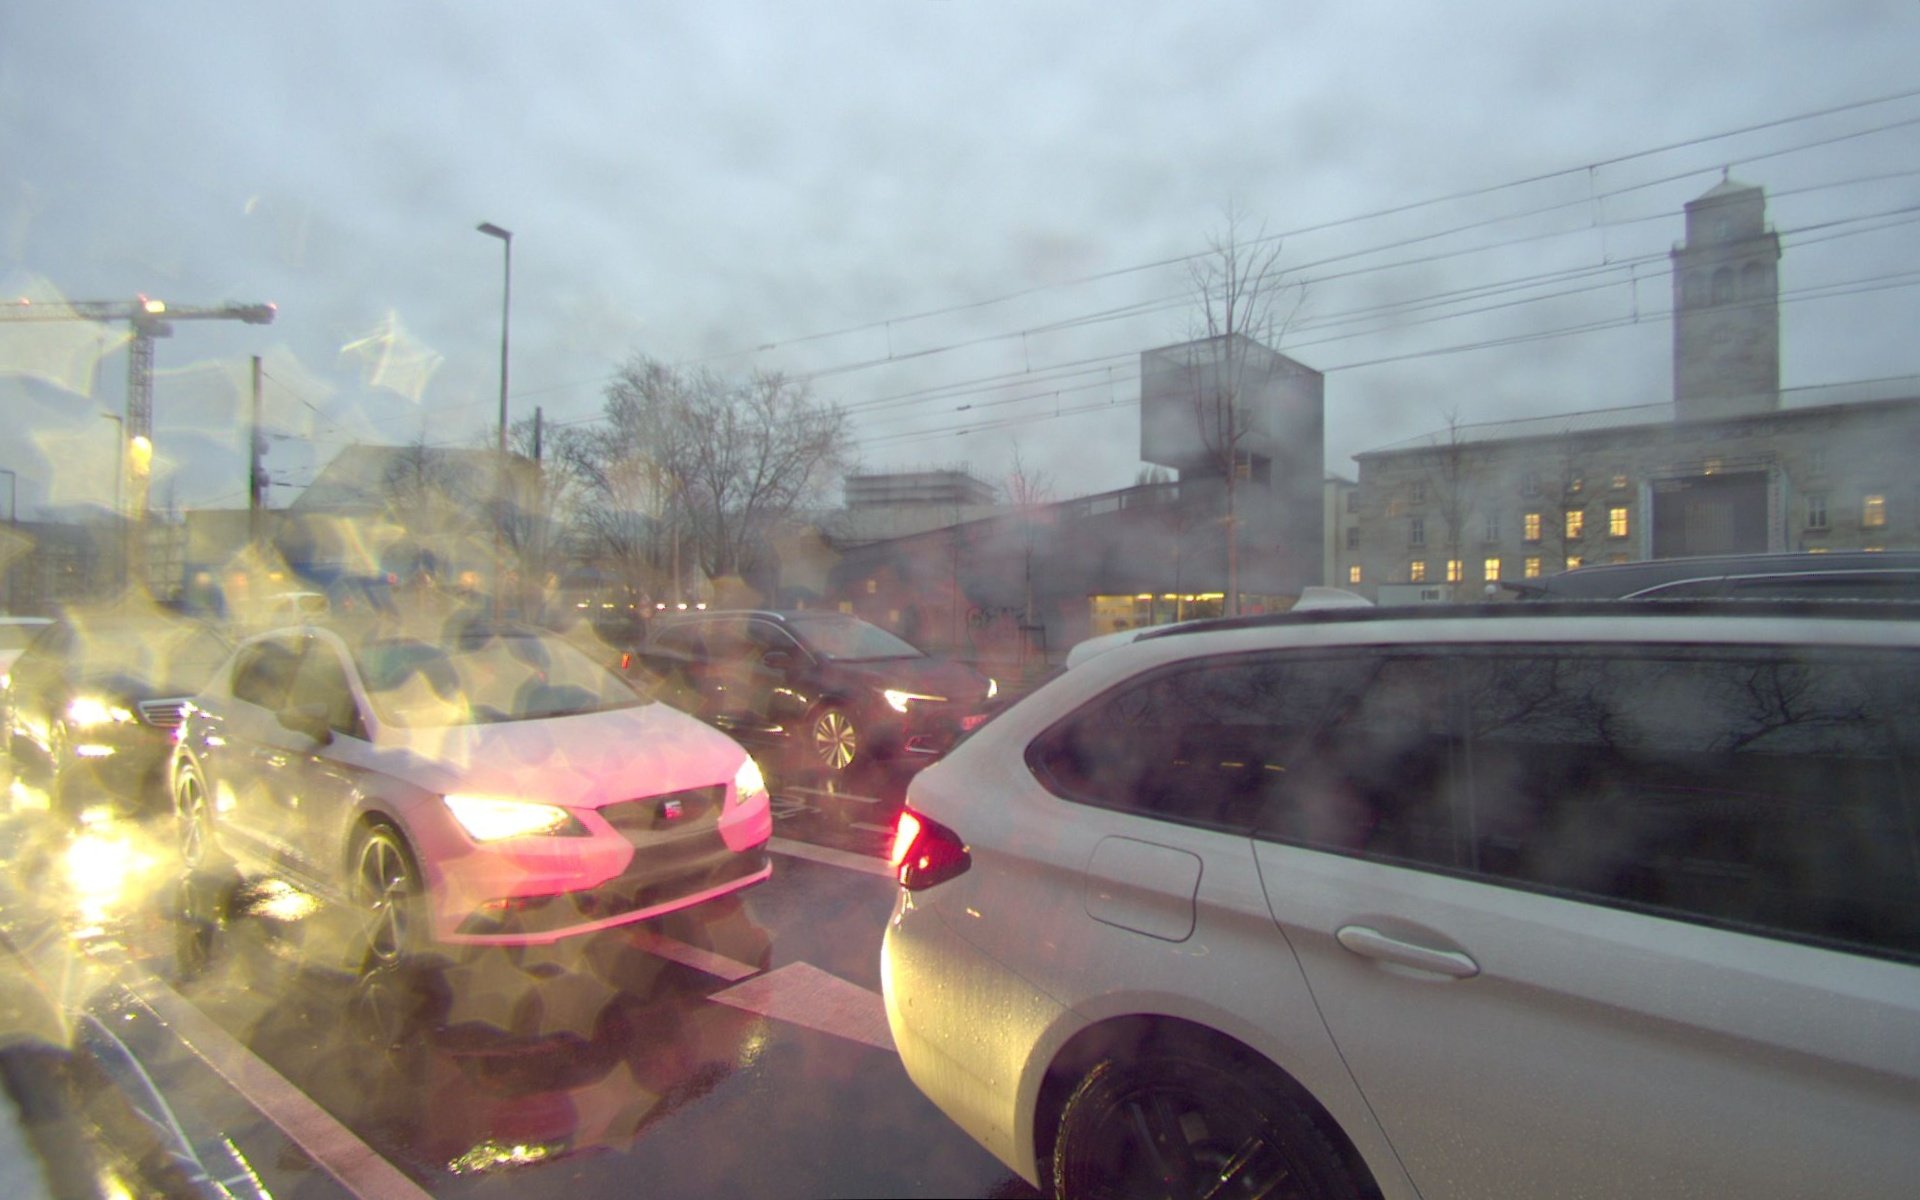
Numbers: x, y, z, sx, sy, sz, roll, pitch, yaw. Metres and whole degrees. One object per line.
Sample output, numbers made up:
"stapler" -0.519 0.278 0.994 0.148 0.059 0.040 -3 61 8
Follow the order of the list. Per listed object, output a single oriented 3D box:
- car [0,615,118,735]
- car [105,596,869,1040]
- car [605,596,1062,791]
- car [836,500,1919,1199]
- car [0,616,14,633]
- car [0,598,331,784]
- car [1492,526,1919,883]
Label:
"car" -14.247 1.038 15.186 3.998 1.586 1.882 -1 0 41
"car" -2.825 0.770 5.578 4.497 1.498 1.926 -1 0 37
"car" -1.430 0.751 10.073 4.659 1.519 1.830 0 -1 39
"car" 2.083 0.647 1.633 4.557 1.498 1.996 -1 -2 41
"car" -106.597 2.703 111.855 3.989 1.910 2.072 -1 -2 34
"car" -8.410 0.787 10.381 4.501 1.498 1.974 -1 -2 39
"car" 5.235 0.474 4.997 4.289 1.596 1.946 -1 -1 42
